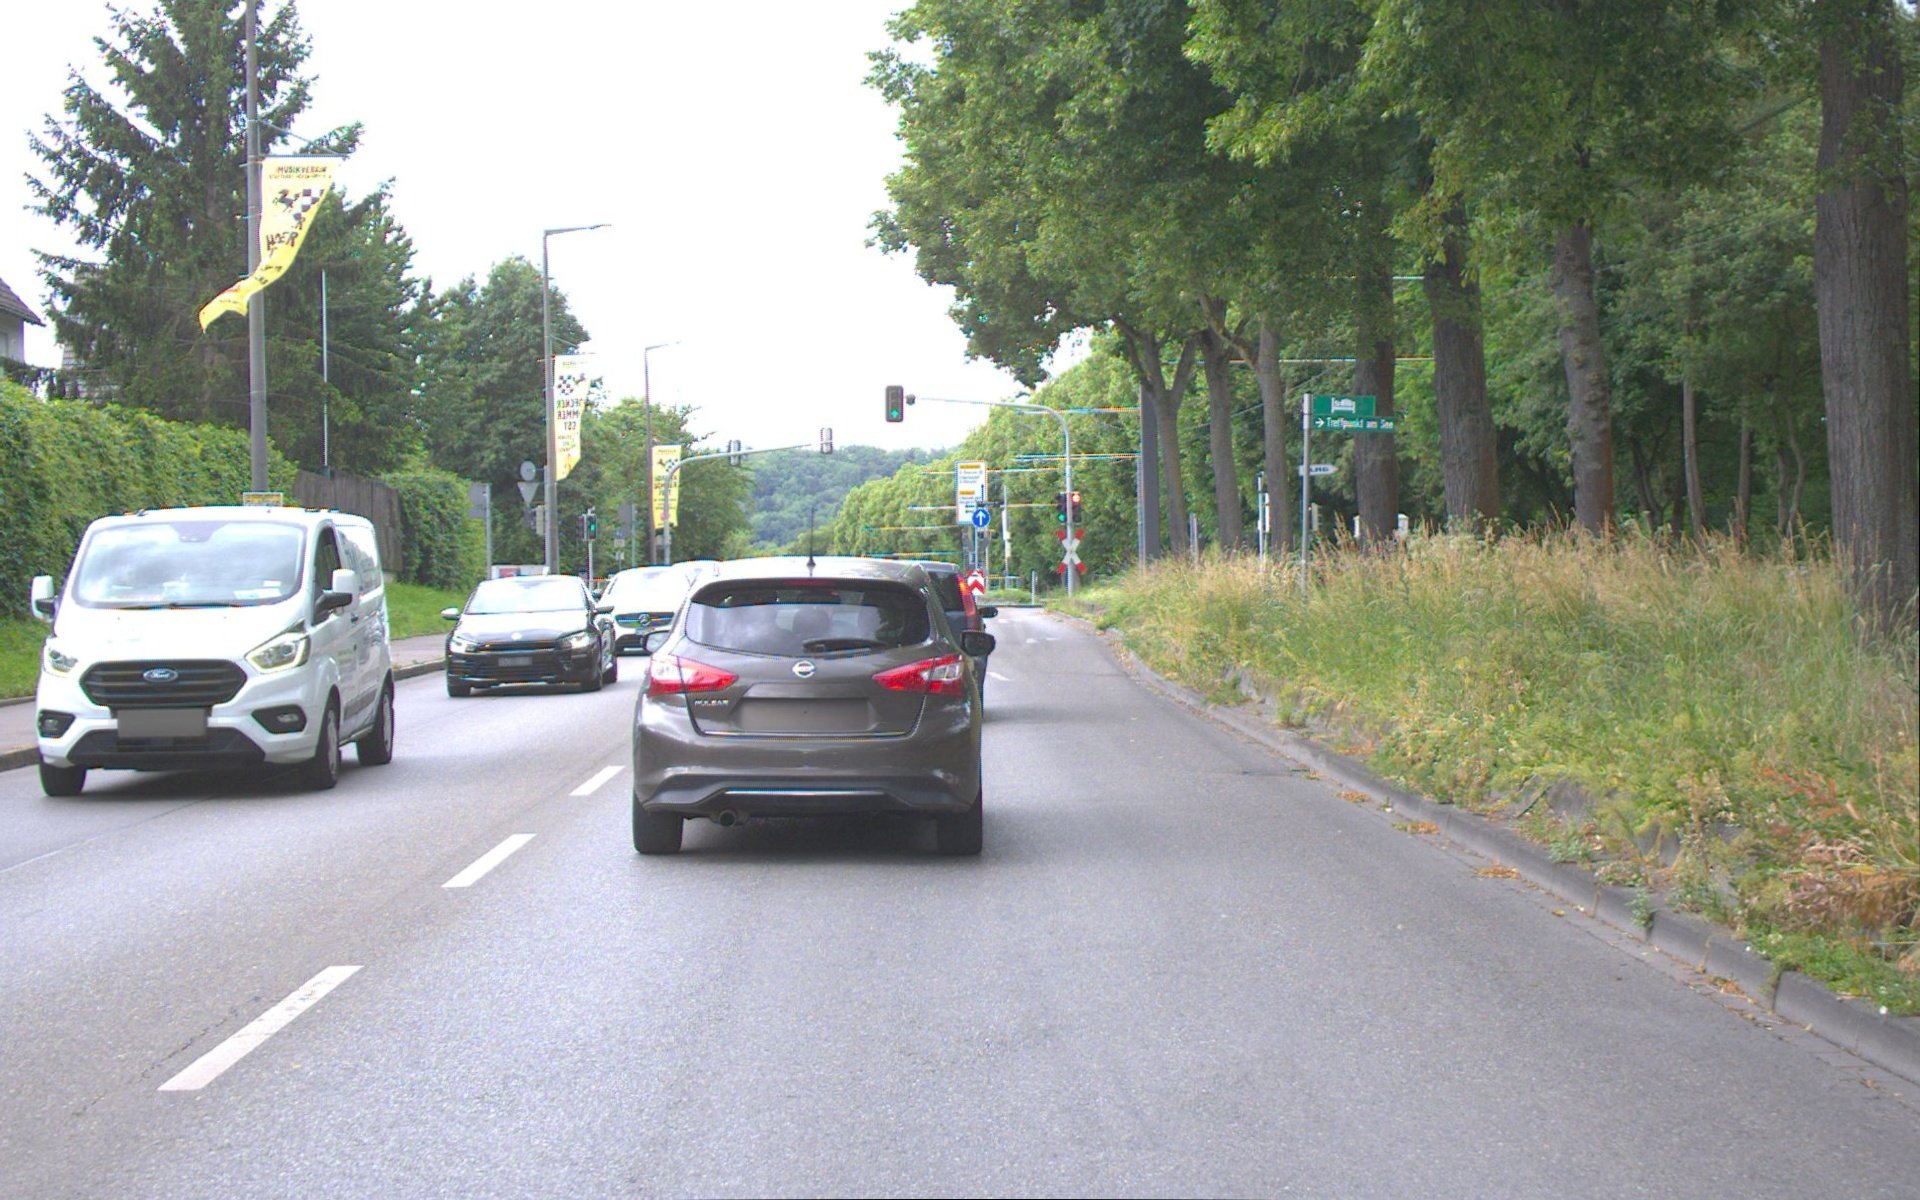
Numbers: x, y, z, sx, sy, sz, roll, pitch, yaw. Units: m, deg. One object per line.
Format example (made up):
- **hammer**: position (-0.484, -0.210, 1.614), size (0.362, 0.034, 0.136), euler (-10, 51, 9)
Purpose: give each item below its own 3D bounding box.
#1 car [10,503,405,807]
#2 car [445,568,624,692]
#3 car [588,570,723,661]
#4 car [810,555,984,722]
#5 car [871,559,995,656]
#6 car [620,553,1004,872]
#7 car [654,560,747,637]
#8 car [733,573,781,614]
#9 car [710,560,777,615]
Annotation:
- **car**: position (-5.319, 0.297, 24.967), size (1.906, 1.925, 4.912), euler (-2, 2, -2)
- **car**: position (-5.072, 0.322, 41.456), size (1.650, 1.343, 4.478), euler (-2, 1, -1)
- **car**: position (-5.073, 0.234, 57.773), size (1.886, 1.378, 4.491), euler (-2, 1, -1)
- **car**: position (-0.586, 0.320, 32.549), size (1.538, 1.473, 3.764), euler (0, 1, -1)
- **car**: position (-0.423, 0.083, 52.669), size (1.792, 1.392, 4.000), euler (-1, 1, -1)
- **car**: position (-0.743, 0.514, 18.848), size (1.835, 1.514, 4.483), euler (1, 1, -1)
- **car**: position (-5.535, -0.057, 73.742), size (1.751, 1.513, 4.000), euler (-3, 1, -2)
- **car**: position (-8.077, -0.272, 137.025), size (1.812, 1.519, 4.178), euler (-2, 1, -2)
- **car**: position (-6.196, -0.379, 98.723), size (1.728, 1.459, 4.154), euler (-2, 1, -1)
